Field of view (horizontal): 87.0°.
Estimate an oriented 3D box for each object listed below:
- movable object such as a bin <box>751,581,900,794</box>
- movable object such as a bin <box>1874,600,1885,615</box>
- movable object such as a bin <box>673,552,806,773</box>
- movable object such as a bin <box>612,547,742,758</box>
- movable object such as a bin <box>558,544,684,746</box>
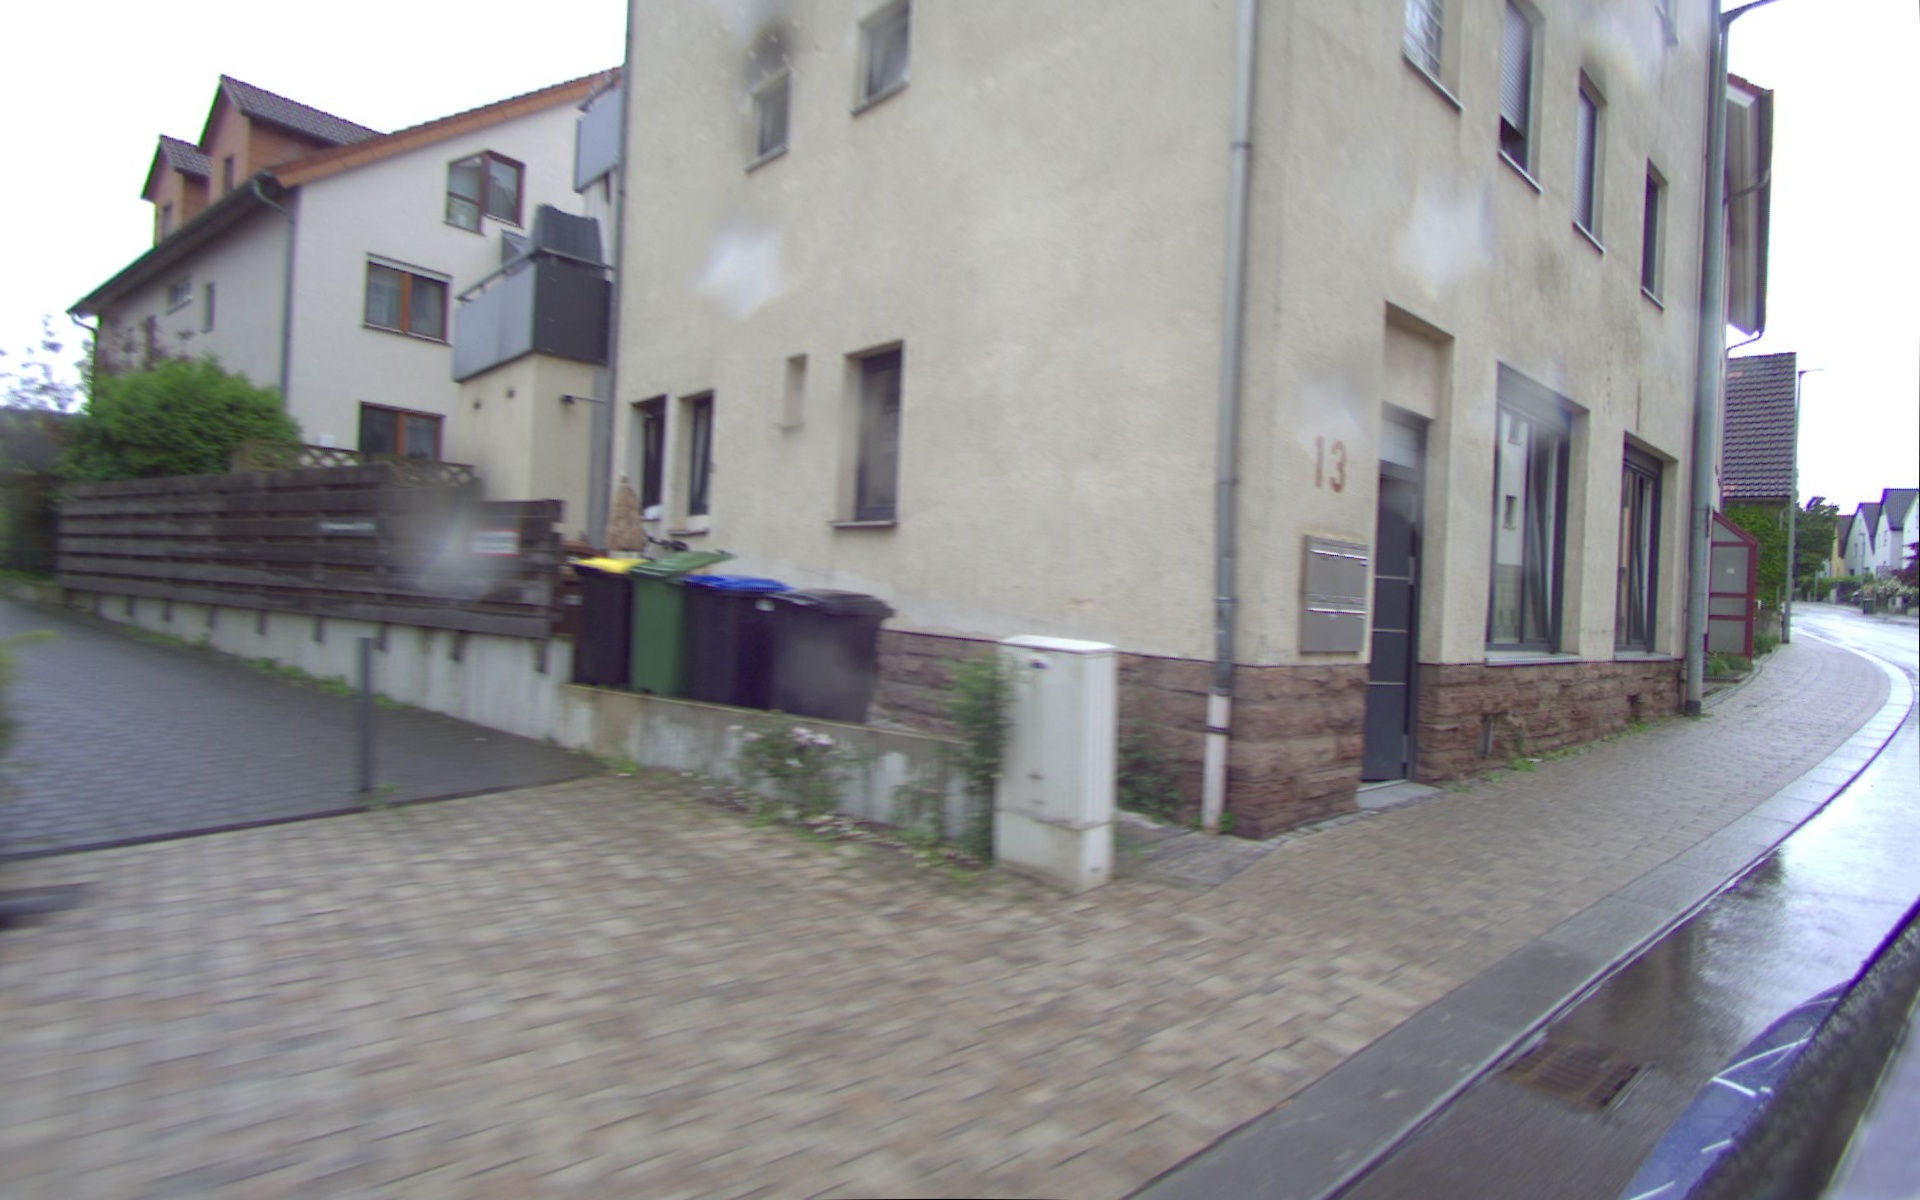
[{"bbox_3d":[-0.844,0.516,6.405,0.634,1.221,0.614,4,1,30],"label":"movable object such as a bin"},{"bbox_3d":[64.969,0.530,71.485,0.519,1.039,0.409,0,0,38],"label":"movable object such as a bin"},{"bbox_3d":[-1.488,0.392,6.868,0.595,1.397,0.614,3,1,30],"label":"movable object such as a bin"},{"bbox_3d":[-2.016,0.343,7.233,0.595,1.396,0.614,4,3,30],"label":"movable object such as a bin"},{"bbox_3d":[-2.518,0.303,7.532,0.595,1.396,0.614,4,3,30],"label":"movable object such as a bin"}]
